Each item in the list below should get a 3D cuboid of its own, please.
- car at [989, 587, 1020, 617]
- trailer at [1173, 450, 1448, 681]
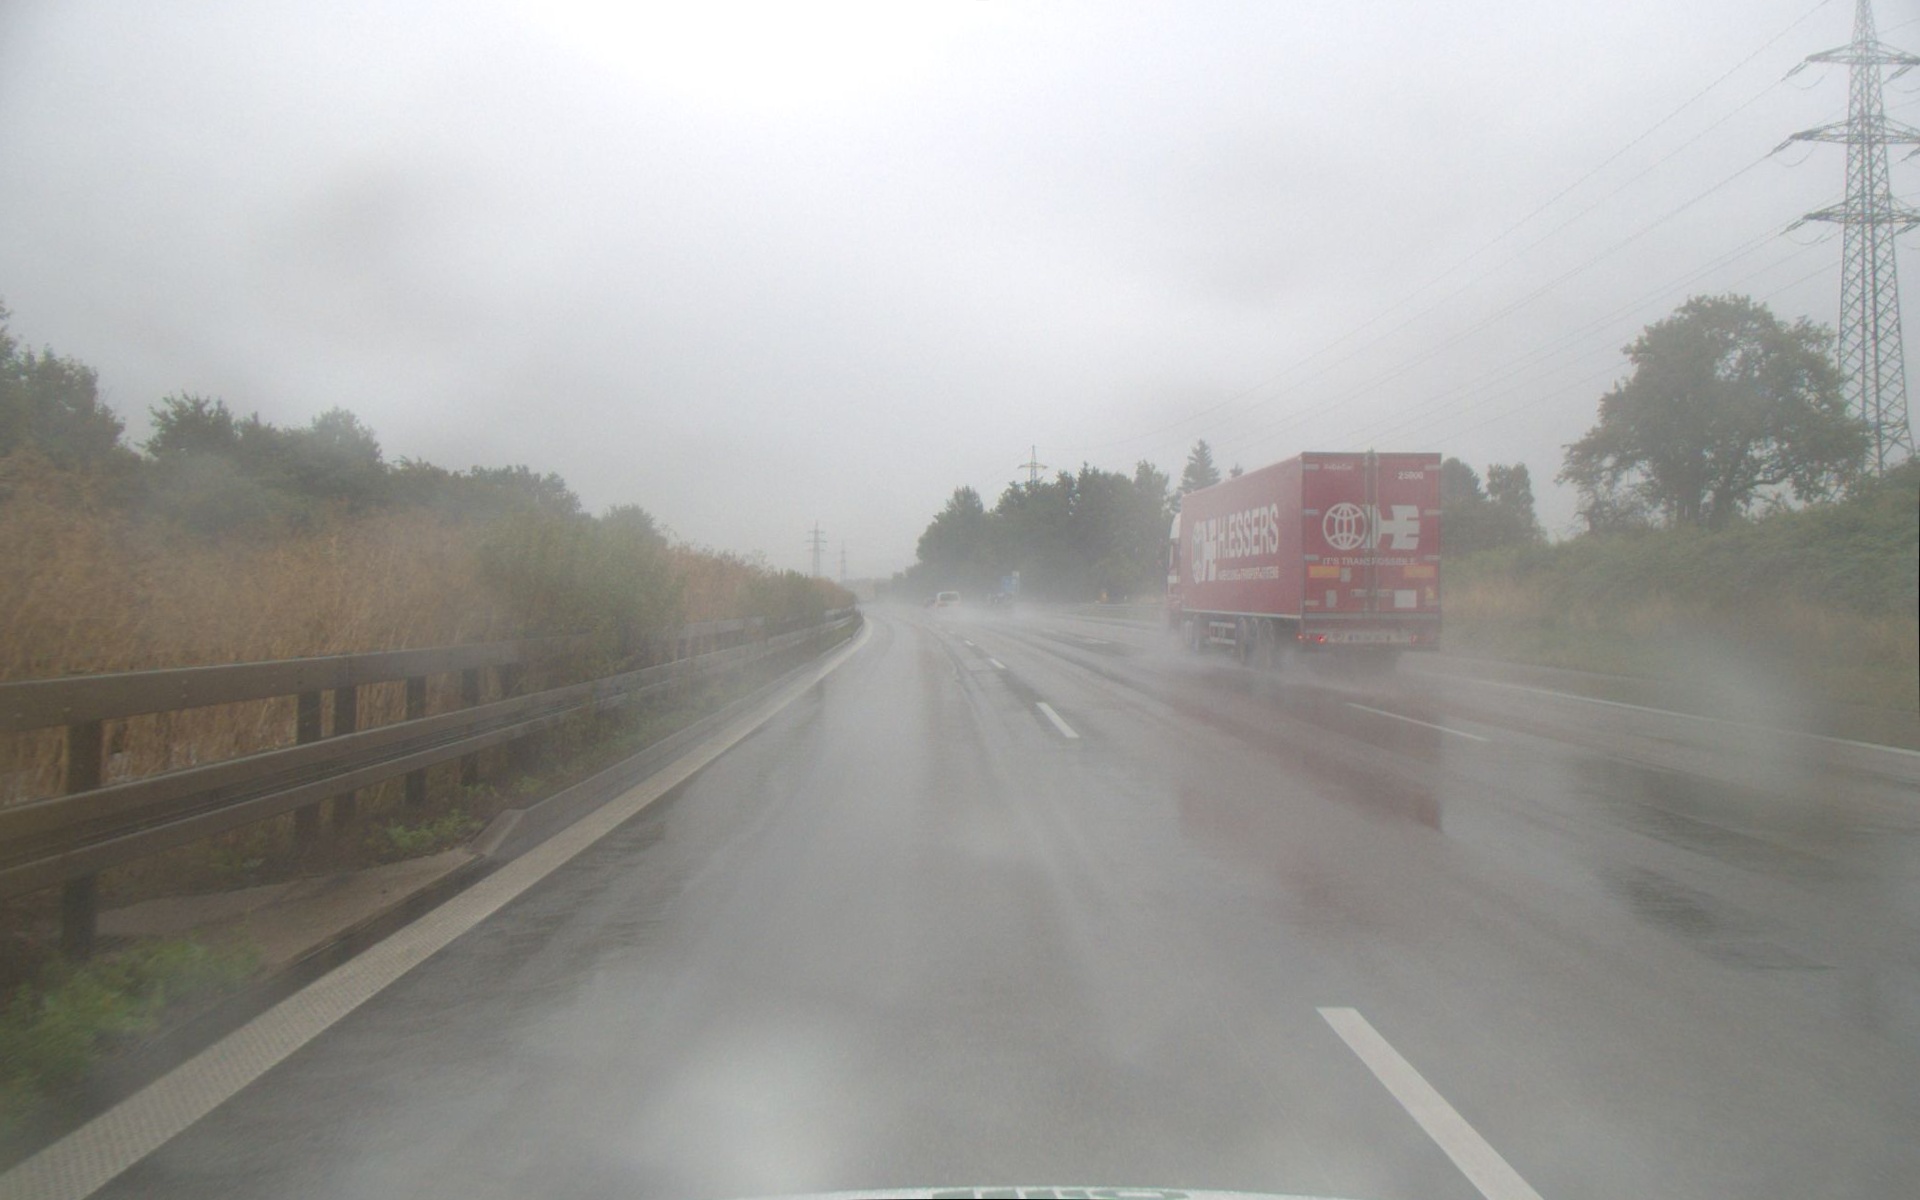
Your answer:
[{"bbox_3d":[3.333,0.108,124.925,1.772,2.196,3.995,-1,0,-6],"label":"car"},{"bbox_3d":[7.112,-0.617,36.200,2.567,4.024,13.624,-2,0,-2],"label":"trailer"}]
